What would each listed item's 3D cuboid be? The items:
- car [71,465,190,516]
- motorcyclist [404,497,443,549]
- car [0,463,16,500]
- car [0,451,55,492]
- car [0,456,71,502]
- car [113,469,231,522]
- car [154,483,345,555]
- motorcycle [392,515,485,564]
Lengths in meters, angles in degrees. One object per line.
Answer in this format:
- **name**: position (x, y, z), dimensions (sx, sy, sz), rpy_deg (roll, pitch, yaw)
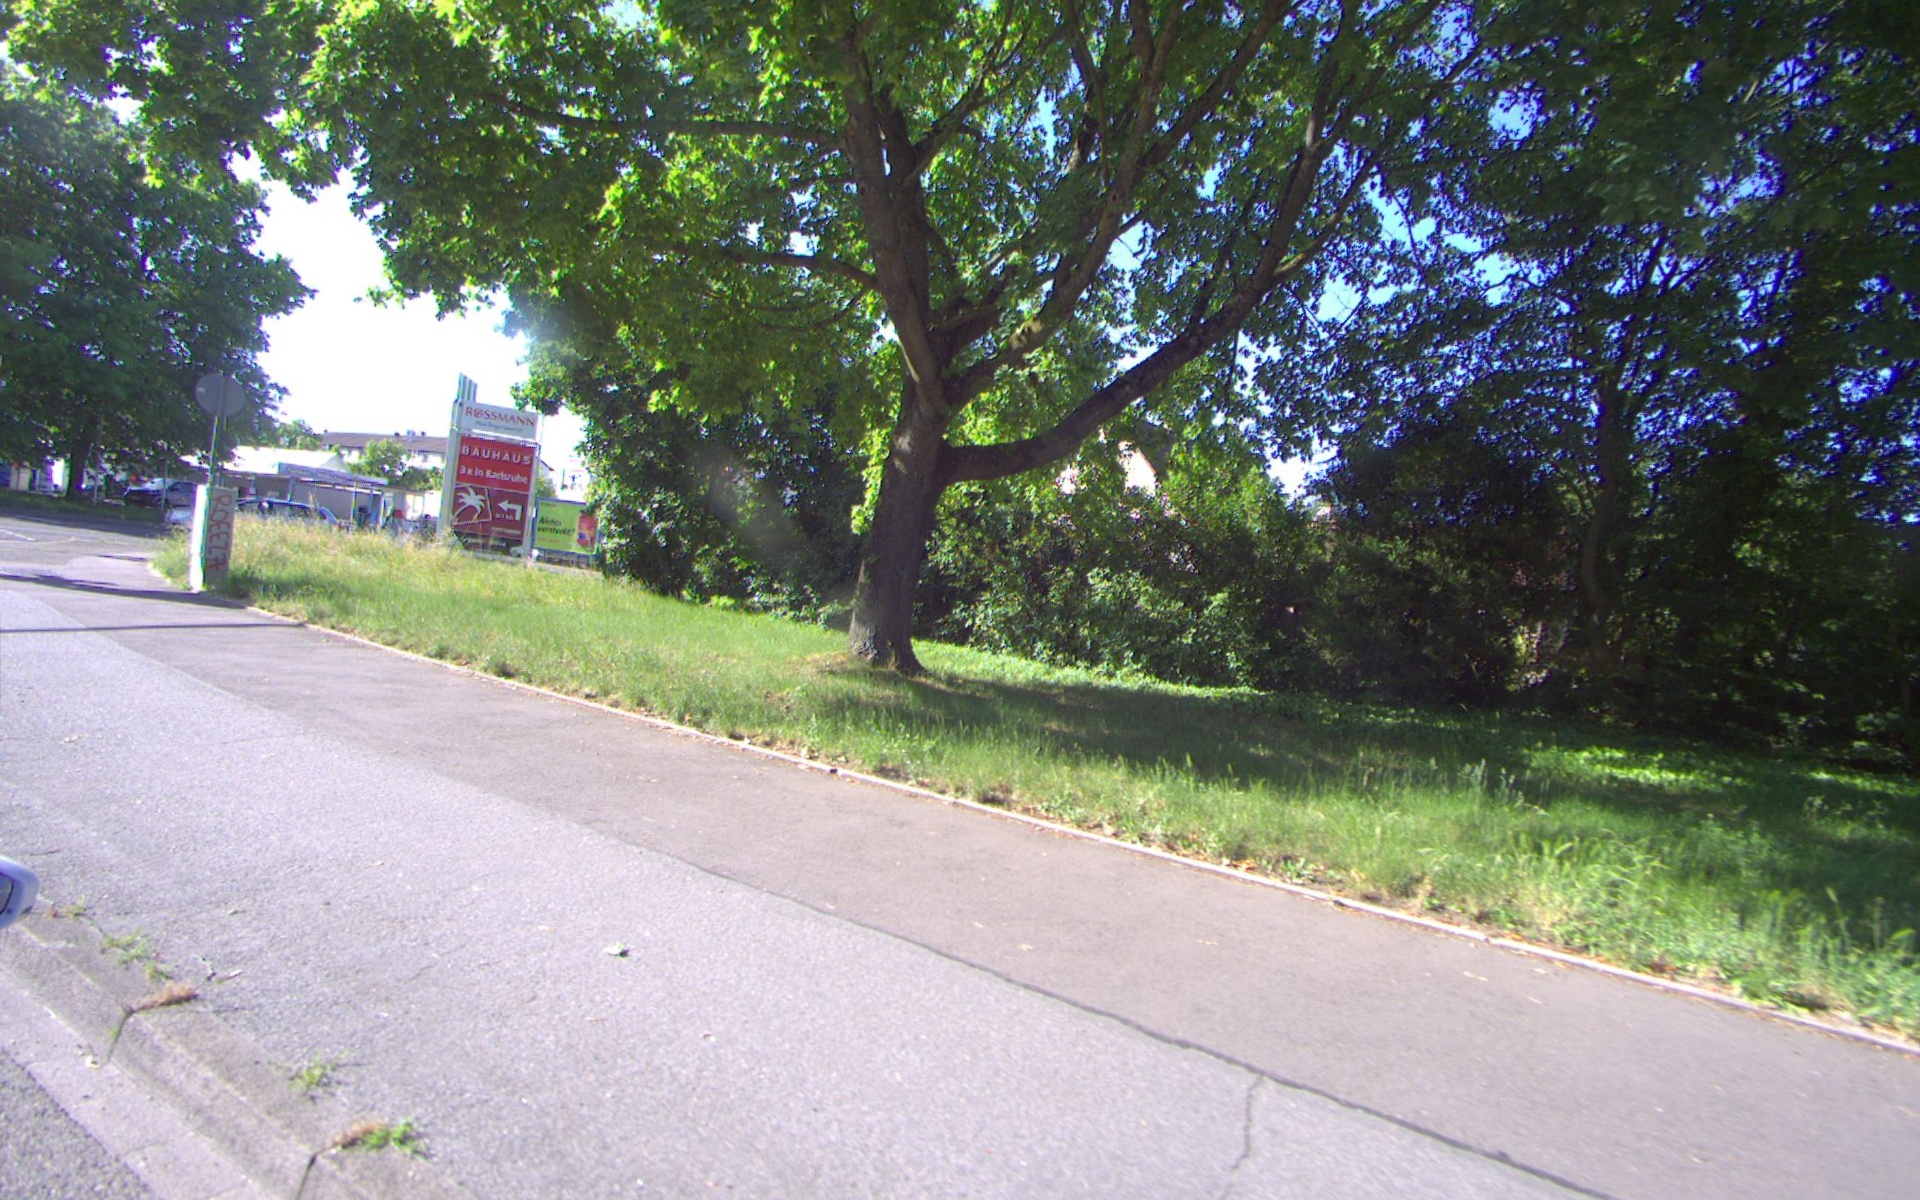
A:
- **car**: position (-38.070, -4.996, 46.291), dimensions (1.771, 1.499, 3.854), rpy_deg (7, -2, 12)
- **motorcyclist**: position (-19.138, -2.744, 35.889), dimensions (0.858, 1.699, 0.824), rpy_deg (9, -1, -42)
- **car**: position (-47.851, -6.002, 48.053), dimensions (1.672, 1.704, 3.728), rpy_deg (8, -2, 5)
- **car**: position (-51.148, -7.043, 53.718), dimensions (1.675, 1.704, 3.722), rpy_deg (7, -2, 28)
- **car**: position (-45.044, -5.859, 47.946), dimensions (1.772, 1.581, 3.851), rpy_deg (8, -2, 0)
- **car**: position (-35.947, -4.726, 46.005), dimensions (1.771, 1.630, 3.854), rpy_deg (7, -2, 12)
- **car**: position (-22.643, -2.546, 32.189), dimensions (1.973, 1.593, 4.610), rpy_deg (6, 0, 42)
- **motorcycle**: position (-18.780, -2.171, 36.285), dimensions (2.718, 1.285, 0.824), rpy_deg (10, -2, -43)
